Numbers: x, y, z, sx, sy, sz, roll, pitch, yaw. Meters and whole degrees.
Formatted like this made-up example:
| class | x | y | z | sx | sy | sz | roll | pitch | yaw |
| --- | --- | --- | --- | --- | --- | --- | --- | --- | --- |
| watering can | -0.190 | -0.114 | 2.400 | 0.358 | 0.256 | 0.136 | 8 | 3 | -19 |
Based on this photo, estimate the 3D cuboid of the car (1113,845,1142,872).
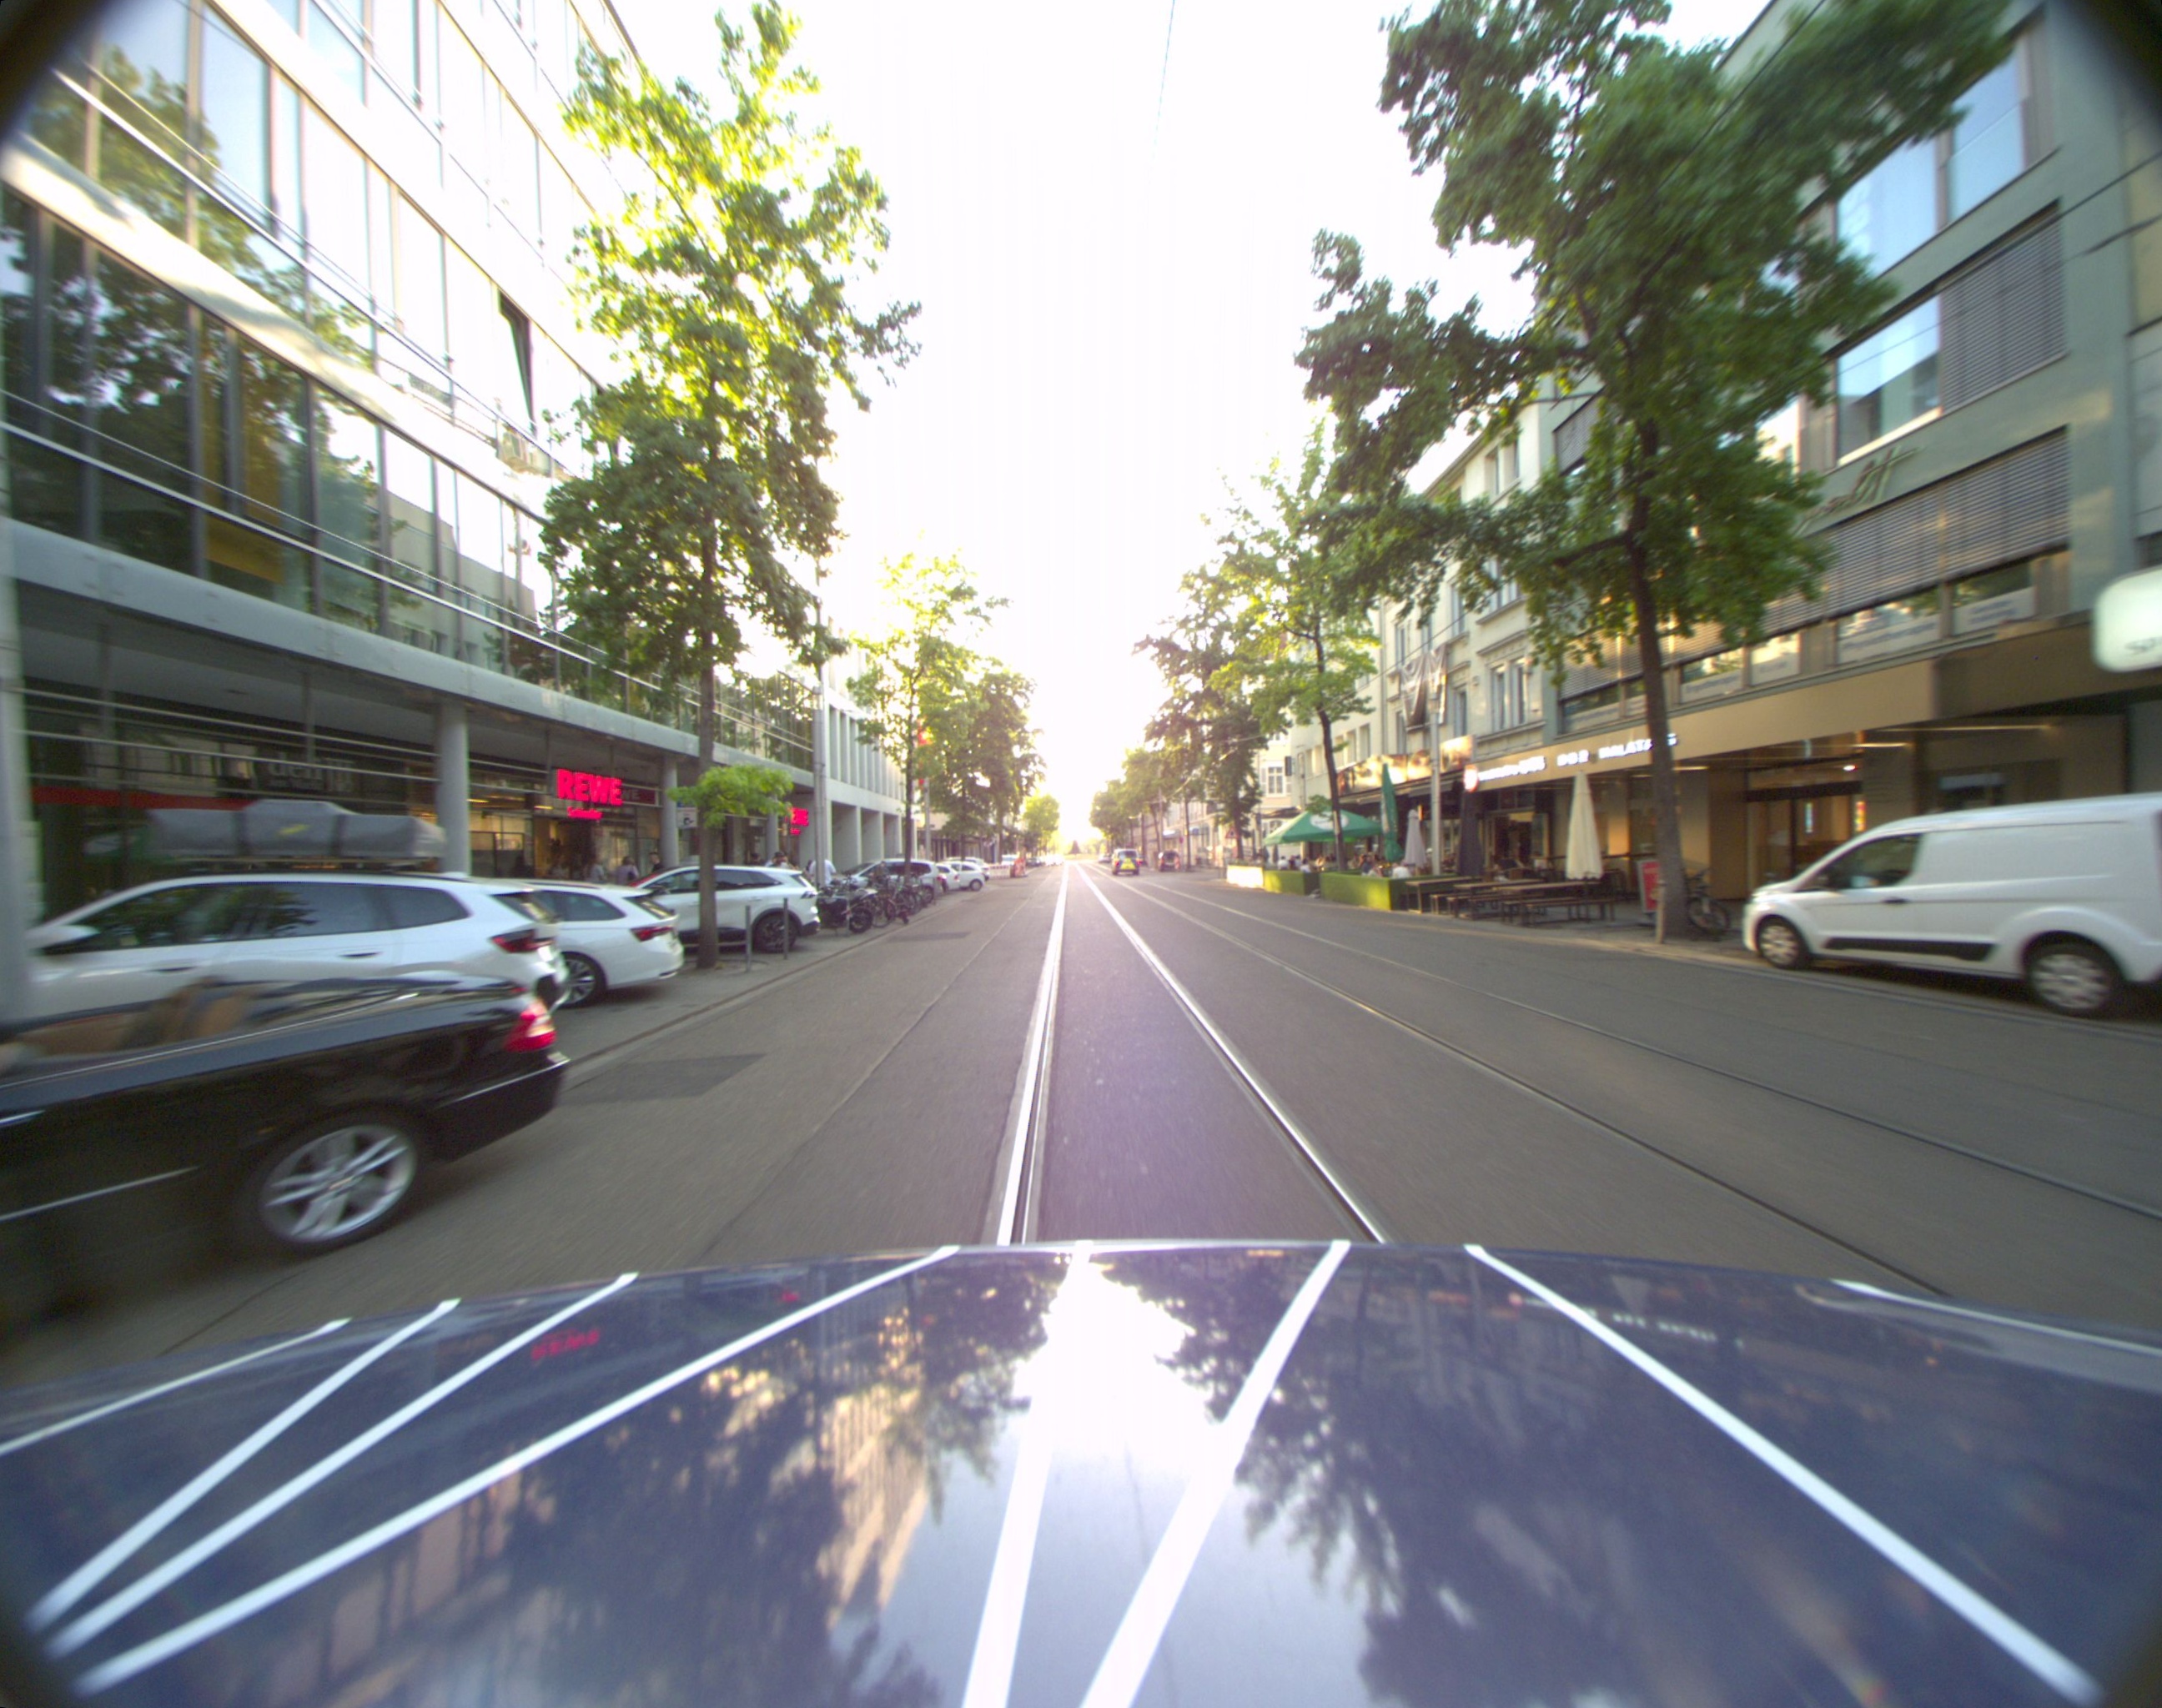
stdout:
| class | x | y | z | sx | sy | sz | roll | pitch | yaw |
| --- | --- | --- | --- | --- | --- | --- | --- | --- | --- |
| car | 3.529 | 0.346 | 58.591 | 1.998 | 2.002 | 4.000 | -1 | 0 | 0 |

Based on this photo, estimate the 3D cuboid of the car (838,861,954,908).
| class | x | y | z | sx | sy | sz | roll | pitch | yaw |
| --- | --- | --- | --- | --- | --- | --- | --- | --- | --- |
| car | -7.294 | 1.163 | 30.181 | 4.006 | 1.501 | 1.796 | -4 | 1 | -37 |

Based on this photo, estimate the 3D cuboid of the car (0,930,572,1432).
| class | x | y | z | sx | sy | sz | roll | pitch | yaw |
| --- | --- | --- | --- | --- | --- | --- | --- | --- | --- |
| car | -4.566 | 1.209 | 2.374 | 1.795 | 1.400 | 4.573 | -2 | 1 | 28 |

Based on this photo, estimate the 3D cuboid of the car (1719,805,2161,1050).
| class | x | y | z | sx | sy | sz | roll | pitch | yaw |
| --- | --- | --- | --- | --- | --- | --- | --- | --- | --- |
| car | 9.104 | 0.518 | 7.564 | 1.830 | 1.811 | 4.329 | -4 | 0 | 1 |

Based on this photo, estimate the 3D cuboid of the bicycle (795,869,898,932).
| class | x | y | z | sx | sy | sz | roll | pitch | yaw |
| --- | --- | --- | --- | --- | --- | --- | --- | --- | --- |
| bicycle | -6.252 | 1.221 | 20.319 | 2.492 | 1.448 | 0.656 | -4 | 1 | -26 |

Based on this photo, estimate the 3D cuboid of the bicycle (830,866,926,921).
| class | x | y | z | sx | sy | sz | roll | pitch | yaw |
| --- | --- | --- | --- | --- | --- | --- | --- | --- | --- |
| bicycle | -6.195 | 1.182 | 23.224 | 2.677 | 1.448 | 0.675 | -4 | 1 | -26 |

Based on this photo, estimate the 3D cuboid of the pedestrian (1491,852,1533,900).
| class | x | y | z | sx | sy | sz | roll | pitch | yaw |
| --- | --- | --- | --- | --- | --- | --- | --- | --- | --- |
| pedestrian | 12.028 | 0.604 | 21.214 | 0.701 | 1.308 | 0.786 | -1 | 1 | -5 |

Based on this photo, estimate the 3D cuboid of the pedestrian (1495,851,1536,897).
| class | x | y | z | sx | sy | sz | roll | pitch | yaw |
| --- | --- | --- | --- | --- | --- | --- | --- | --- | --- |
| pedestrian | 12.644 | 0.572 | 22.142 | 0.701 | 1.308 | 0.786 | -1 | 1 | -5 |

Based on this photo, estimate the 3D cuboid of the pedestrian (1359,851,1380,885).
| class | x | y | z | sx | sy | sz | roll | pitch | yaw |
| --- | --- | --- | --- | --- | --- | --- | --- | --- | --- |
| pedestrian | 12.811 | 0.619 | 33.750 | 0.650 | 1.451 | 0.650 | -1 | 1 | -3 |

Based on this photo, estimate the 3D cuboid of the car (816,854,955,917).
| class | x | y | z | sx | sy | sz | roll | pitch | yaw |
| --- | --- | --- | --- | --- | --- | --- | --- | --- | --- |
| car | -7.120 | 1.104 | 27.865 | 4.474 | 1.869 | 1.796 | -4 | 1 | -37 |

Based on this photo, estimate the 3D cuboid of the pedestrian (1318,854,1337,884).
| class | x | y | z | sx | sy | sz | roll | pitch | yaw |
| --- | --- | --- | --- | --- | --- | --- | --- | --- | --- |
| pedestrian | 12.276 | 0.752 | 37.851 | 0.650 | 1.451 | 0.650 | -1 | 1 | -3 |

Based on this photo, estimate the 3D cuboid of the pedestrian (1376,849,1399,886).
| class | x | y | z | sx | sy | sz | roll | pitch | yaw |
| --- | --- | --- | --- | --- | --- | --- | --- | --- | --- |
| pedestrian | 12.208 | 0.543 | 30.271 | 0.650 | 1.451 | 0.650 | -1 | 1 | -3 |

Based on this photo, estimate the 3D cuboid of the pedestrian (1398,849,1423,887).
| class | x | y | z | sx | sy | sz | roll | pitch | yaw |
| --- | --- | --- | --- | --- | --- | --- | --- | --- | --- |
| pedestrian | 12.727 | 0.535 | 29.359 | 0.650 | 1.451 | 0.650 | -1 | 1 | -3 |

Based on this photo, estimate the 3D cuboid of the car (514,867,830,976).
| class | x | y | z | sx | sy | sz | roll | pitch | yaw |
| --- | --- | --- | --- | --- | --- | --- | --- | --- | --- |
| car | -7.068 | 1.042 | 13.408 | 4.646 | 1.578 | 1.913 | 1 | 0 | -35 |

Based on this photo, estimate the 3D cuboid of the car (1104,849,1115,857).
| class | x | y | z | sx | sy | sz | roll | pitch | yaw |
| --- | --- | --- | --- | --- | --- | --- | --- | --- | --- |
| car | 5.270 | -0.219 | 141.152 | 1.799 | 1.501 | 4.000 | -1 | 0 | 0 |

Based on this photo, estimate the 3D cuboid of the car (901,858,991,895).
| class | x | y | z | sx | sy | sz | roll | pitch | yaw |
| --- | --- | --- | --- | --- | --- | --- | --- | --- | --- |
| car | -6.787 | 1.104 | 38.230 | 4.005 | 1.501 | 1.861 | -4 | 1 | -30 |

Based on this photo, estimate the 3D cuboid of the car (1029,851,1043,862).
| class | x | y | z | sx | sy | sz | roll | pitch | yaw |
| --- | --- | --- | --- | --- | --- | --- | --- | --- | --- |
| car | -6.524 | 0.297 | 110.509 | 1.793 | 1.499 | 3.999 | -2 | 1 | 0 |

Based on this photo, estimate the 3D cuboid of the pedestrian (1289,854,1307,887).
| class | x | y | z | sx | sy | sz | roll | pitch | yaw |
| --- | --- | --- | --- | --- | --- | --- | --- | --- | --- |
| pedestrian | 9.414 | 0.714 | 32.962 | 0.649 | 1.378 | 0.650 | -1 | 1 | 6 |

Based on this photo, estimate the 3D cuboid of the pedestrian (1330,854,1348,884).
| class | x | y | z | sx | sy | sz | roll | pitch | yaw |
| --- | --- | --- | --- | --- | --- | --- | --- | --- | --- |
| pedestrian | 12.852 | 0.731 | 37.888 | 0.650 | 1.451 | 0.650 | -1 | 1 | -3 |

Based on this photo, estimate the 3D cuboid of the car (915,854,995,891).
| class | x | y | z | sx | sy | sz | roll | pitch | yaw |
| --- | --- | --- | --- | --- | --- | --- | --- | --- | --- |
| car | -7.101 | 1.009 | 42.939 | 4.004 | 1.776 | 1.861 | -4 | 1 | -24 |

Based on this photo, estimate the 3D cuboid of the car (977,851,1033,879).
| class | x | y | z | sx | sy | sz | roll | pitch | yaw |
| --- | --- | --- | --- | --- | --- | --- | --- | --- | --- |
| car | -5.560 | 0.799 | 55.819 | 1.860 | 1.776 | 4.007 | -3 | 1 | 34 |

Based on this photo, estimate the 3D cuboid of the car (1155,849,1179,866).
| class | x | y | z | sx | sy | sz | roll | pitch | yaw |
| --- | --- | --- | --- | --- | --- | --- | --- | --- | --- |
| car | 7.800 | 0.309 | 69.255 | 1.799 | 1.501 | 4.000 | -1 | 0 | 0 |

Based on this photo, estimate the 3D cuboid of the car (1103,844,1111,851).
| class | x | y | z | sx | sy | sz | roll | pitch | yaw |
| --- | --- | --- | --- | --- | --- | --- | --- | --- | --- |
| car | 6.367 | -1.598 | 186.648 | 1.799 | 1.501 | 4.000 | -1 | 0 | 0 |

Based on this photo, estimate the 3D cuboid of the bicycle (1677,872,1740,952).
| class | x | y | z | sx | sy | sz | roll | pitch | yaw |
| --- | --- | --- | --- | --- | --- | --- | --- | --- | --- |
| bicycle | 9.779 | 0.860 | 11.815 | 1.804 | 1.101 | 0.499 | -2 | 1 | -43 |

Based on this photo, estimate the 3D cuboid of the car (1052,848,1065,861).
| class | x | y | z | sx | sy | sz | roll | pitch | yaw |
| --- | --- | --- | --- | --- | --- | --- | --- | --- | --- |
| car | -3.503 | 0.091 | 118.993 | 1.998 | 2.002 | 4.000 | -1 | 0 | 0 |

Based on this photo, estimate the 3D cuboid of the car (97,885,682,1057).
| class | x | y | z | sx | sy | sz | roll | pitch | yaw |
| --- | --- | --- | --- | --- | --- | --- | --- | --- | --- |
| car | -7.249 | 1.134 | 8.775 | 4.644 | 1.431 | 1.914 | 1 | 0 | -28 |

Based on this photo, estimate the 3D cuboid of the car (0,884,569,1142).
| class | x | y | z | sx | sy | sz | roll | pitch | yaw |
| --- | --- | --- | --- | --- | --- | --- | --- | --- | --- |
| car | -6.939 | 1.081 | 6.076 | 4.646 | 1.619 | 1.914 | 1 | -2 | -32 |

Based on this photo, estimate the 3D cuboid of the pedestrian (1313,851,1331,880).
| class | x | y | z | sx | sy | sz | roll | pitch | yaw |
| --- | --- | --- | --- | --- | --- | --- | --- | --- | --- |
| pedestrian | 12.286 | 0.599 | 38.785 | 0.650 | 1.451 | 0.650 | -1 | 1 | -3 |

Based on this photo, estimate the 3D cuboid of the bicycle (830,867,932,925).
| class | x | y | z | sx | sy | sz | roll | pitch | yaw |
| --- | --- | --- | --- | --- | --- | --- | --- | --- | --- |
| bicycle | -5.809 | 1.182 | 22.121 | 2.677 | 1.448 | 0.728 | -4 | 1 | -27 |

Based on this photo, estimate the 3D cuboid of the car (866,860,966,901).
| class | x | y | z | sx | sy | sz | roll | pitch | yaw |
| --- | --- | --- | --- | --- | --- | --- | --- | --- | --- |
| car | -7.526 | 1.173 | 34.679 | 4.005 | 1.501 | 1.796 | -4 | 1 | -30 |

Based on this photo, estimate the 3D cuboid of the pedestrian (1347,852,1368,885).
| class | x | y | z | sx | sy | sz | roll | pitch | yaw |
| --- | --- | --- | --- | --- | --- | --- | --- | --- | --- |
| pedestrian | 12.306 | 0.635 | 33.870 | 0.650 | 1.451 | 0.650 | -1 | 1 | -3 |
